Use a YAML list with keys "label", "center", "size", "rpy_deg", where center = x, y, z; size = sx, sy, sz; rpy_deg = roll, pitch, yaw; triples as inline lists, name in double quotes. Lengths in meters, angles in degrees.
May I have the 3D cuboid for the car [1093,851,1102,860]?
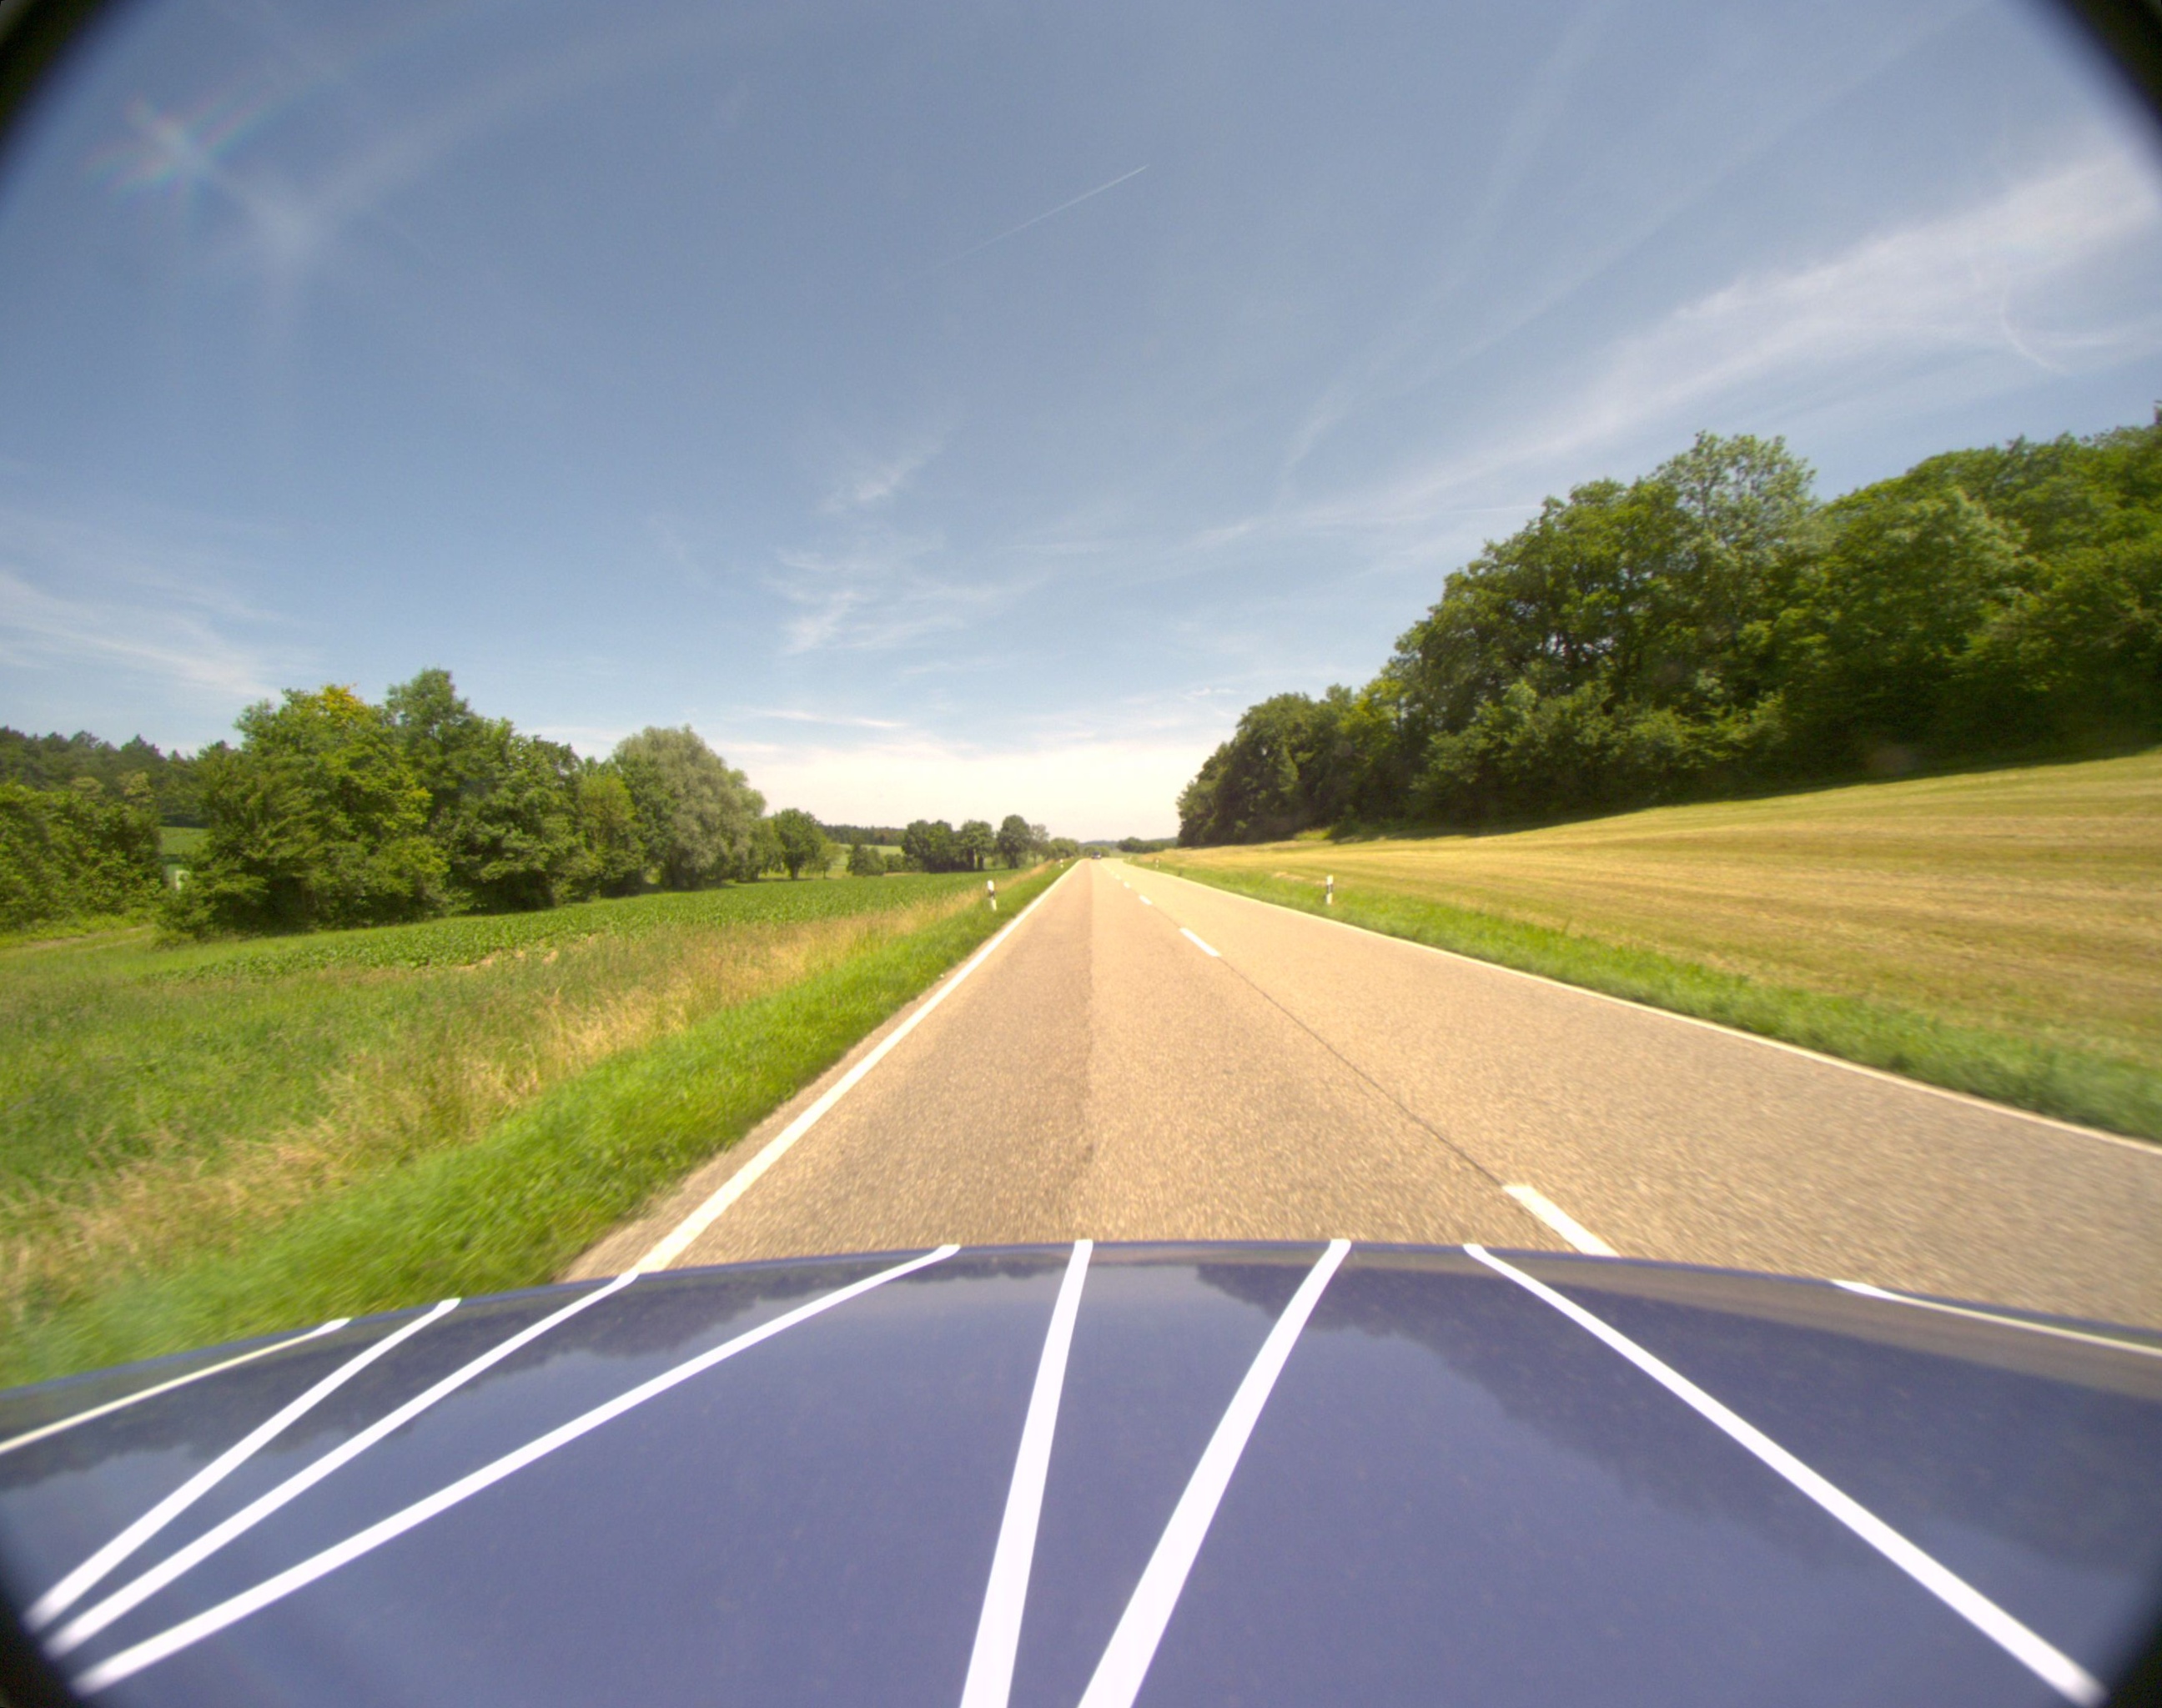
- label: "car"
  center: [3.341, 0.255, 156.322]
  size: [1.815, 1.569, 4.156]
  rpy_deg: [-2, -3, 1]
